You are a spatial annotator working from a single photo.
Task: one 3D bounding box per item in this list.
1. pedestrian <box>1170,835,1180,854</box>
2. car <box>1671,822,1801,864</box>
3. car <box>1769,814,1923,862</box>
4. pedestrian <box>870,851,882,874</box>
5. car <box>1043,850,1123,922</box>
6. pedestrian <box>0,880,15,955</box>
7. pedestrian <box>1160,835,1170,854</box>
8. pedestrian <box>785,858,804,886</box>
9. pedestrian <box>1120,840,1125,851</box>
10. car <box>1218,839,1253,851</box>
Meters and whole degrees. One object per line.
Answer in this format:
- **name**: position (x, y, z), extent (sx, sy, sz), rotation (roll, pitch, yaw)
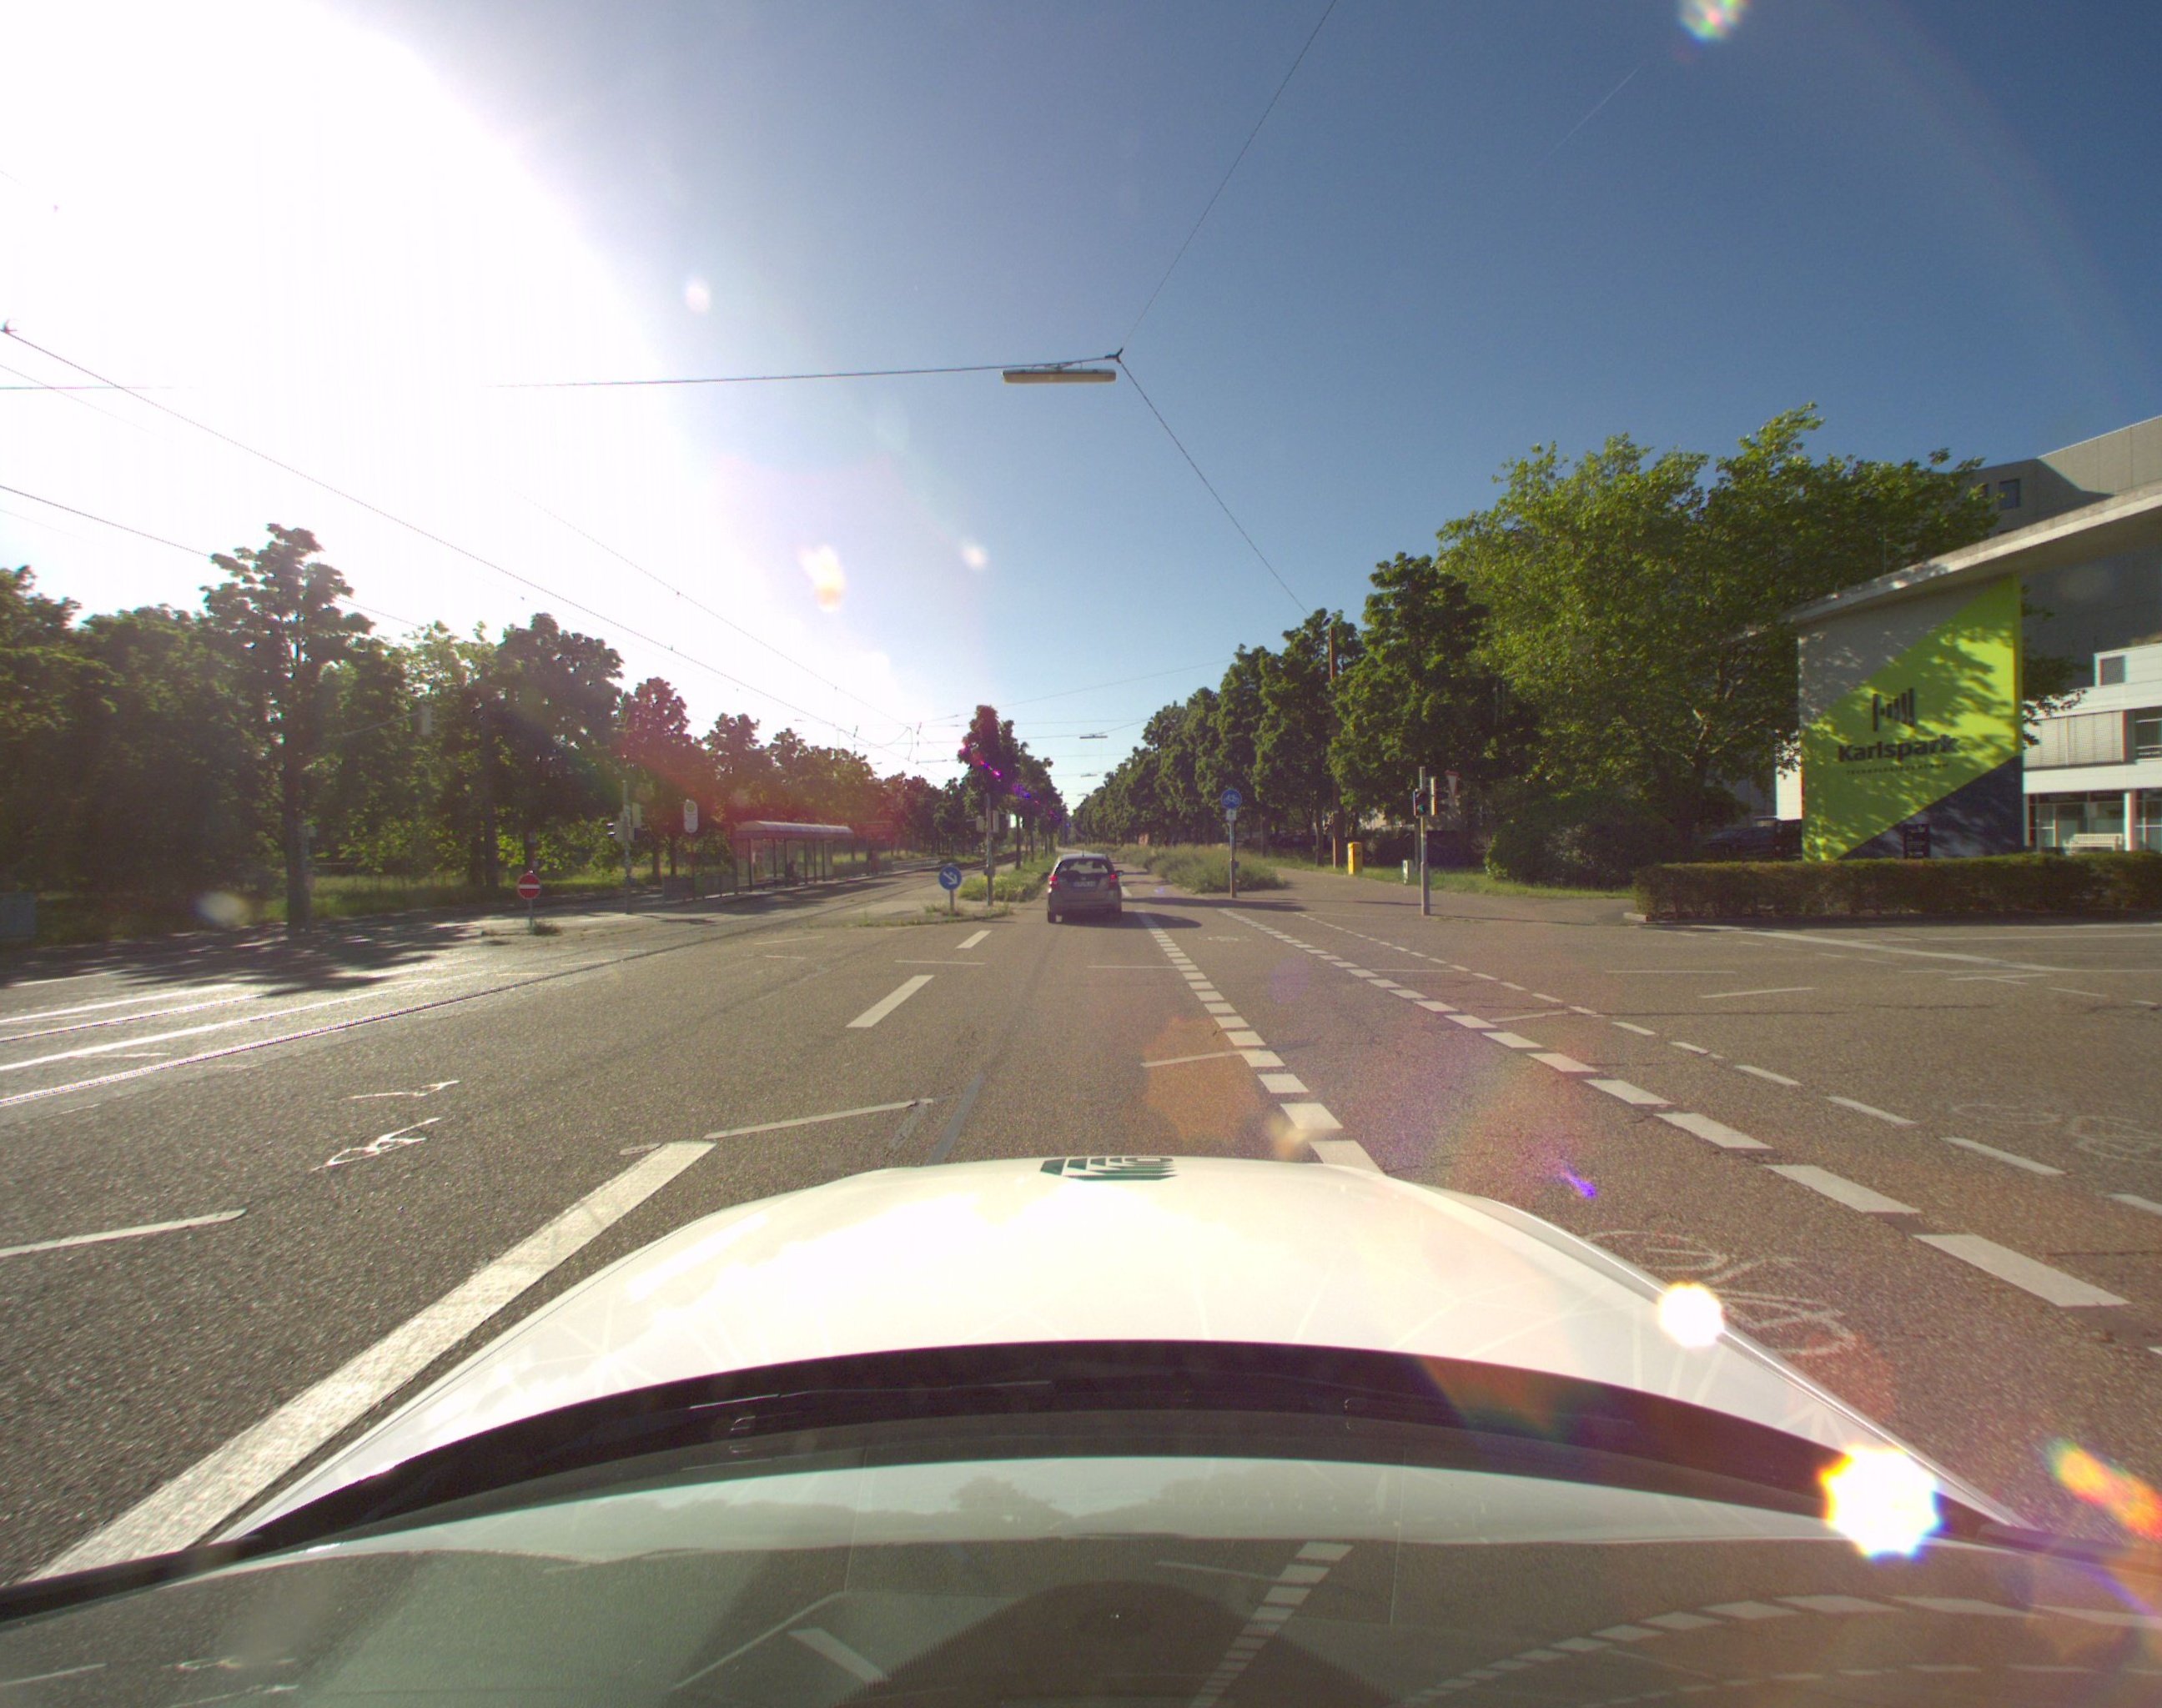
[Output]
- **pedestrian**: position (9.705, -0.962, 83.942), extent (0.880, 1.884, 0.875), rotation (-2, 0, -2)
- **car**: position (29.231, -0.488, 36.428), extent (4.448, 1.686, 1.892), rotation (-1, 0, -5)
- **car**: position (30.121, -0.631, 32.109), extent (4.888, 1.757, 2.082), rotation (-2, 0, -14)
- **pedestrian**: position (-13.300, 0.561, 52.806), extent (0.542, 1.447, 0.559), rotation (-2, -1, 1)
- **car**: position (0.097, 0.705, 19.384), extent (1.694, 1.524, 3.710), rotation (-1, -1, 2)
- **pedestrian**: position (-25.714, 1.507, 18.966), extent (0.751, 1.734, 0.943), rotation (-2, 0, 30)
- **pedestrian**: position (8.644, -0.952, 83.936), extent (0.880, 1.884, 0.875), rotation (-2, 0, -2)
- **pedestrian**: position (-13.447, 0.853, 38.235), extent (0.562, 1.257, 0.581), rotation (-4, 0, 0)
- **pedestrian**: position (6.230, -1.281, 122.279), extent (0.723, 1.690, 0.821), rotation (-1, 0, -1)
- **car**: position (22.091, -1.339, 116.558), extent (4.623, 1.555, 1.997), rotation (-2, 0, -5)
